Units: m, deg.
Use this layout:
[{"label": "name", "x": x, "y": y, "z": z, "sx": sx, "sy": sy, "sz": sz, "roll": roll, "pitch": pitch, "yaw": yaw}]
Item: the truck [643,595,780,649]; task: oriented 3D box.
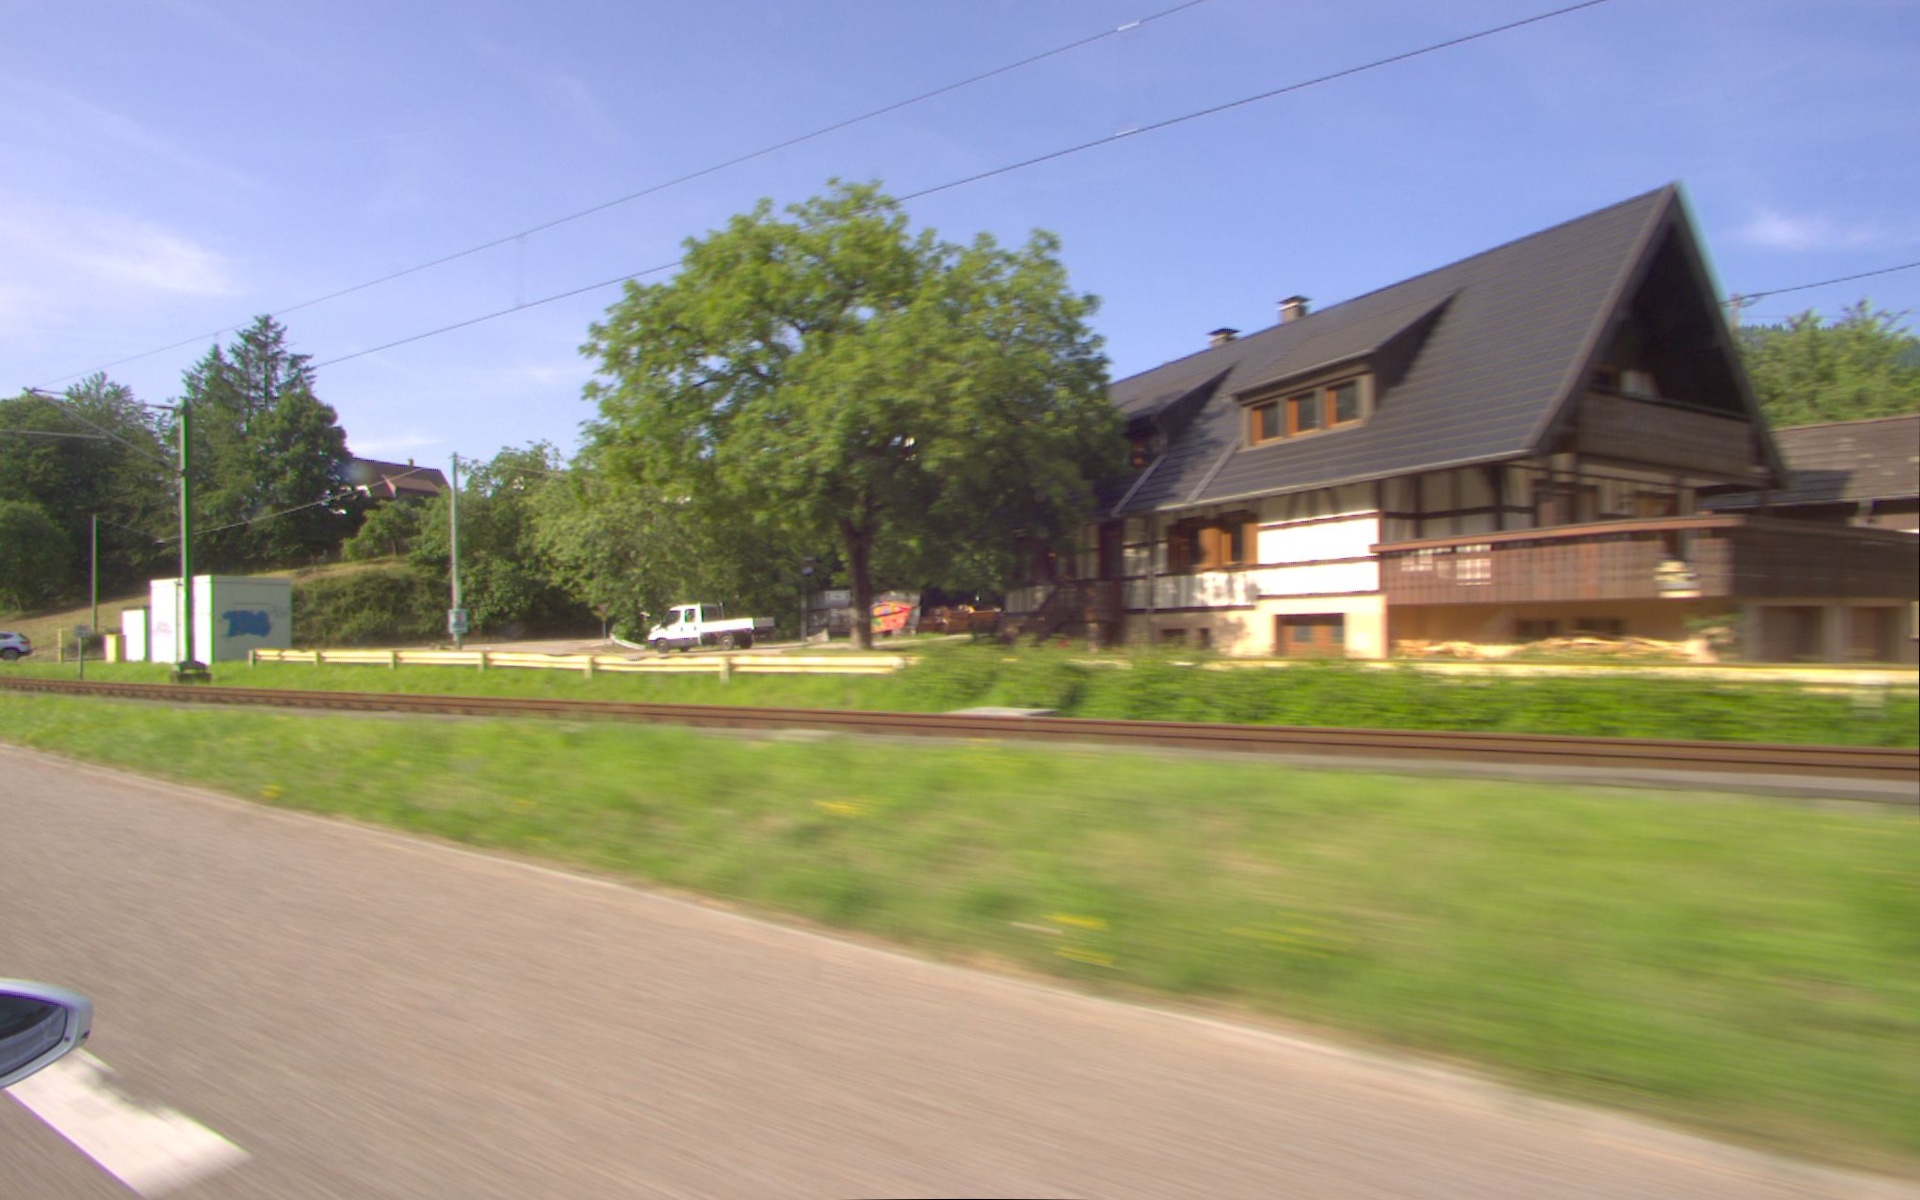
[{"label": "truck", "x": -11.731, "y": 1.057, "z": 47.396, "sx": 5.833, "sy": 2.261, "sz": 2.404, "roll": -3, "pitch": -1, "yaw": 18}]

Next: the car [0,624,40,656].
[{"label": "car", "x": -51.341, "y": 2.111, "z": 52.828, "sx": 4.085, "sy": 1.708, "sz": 1.818, "roll": 2, "pitch": -2, "yaw": -43}]
